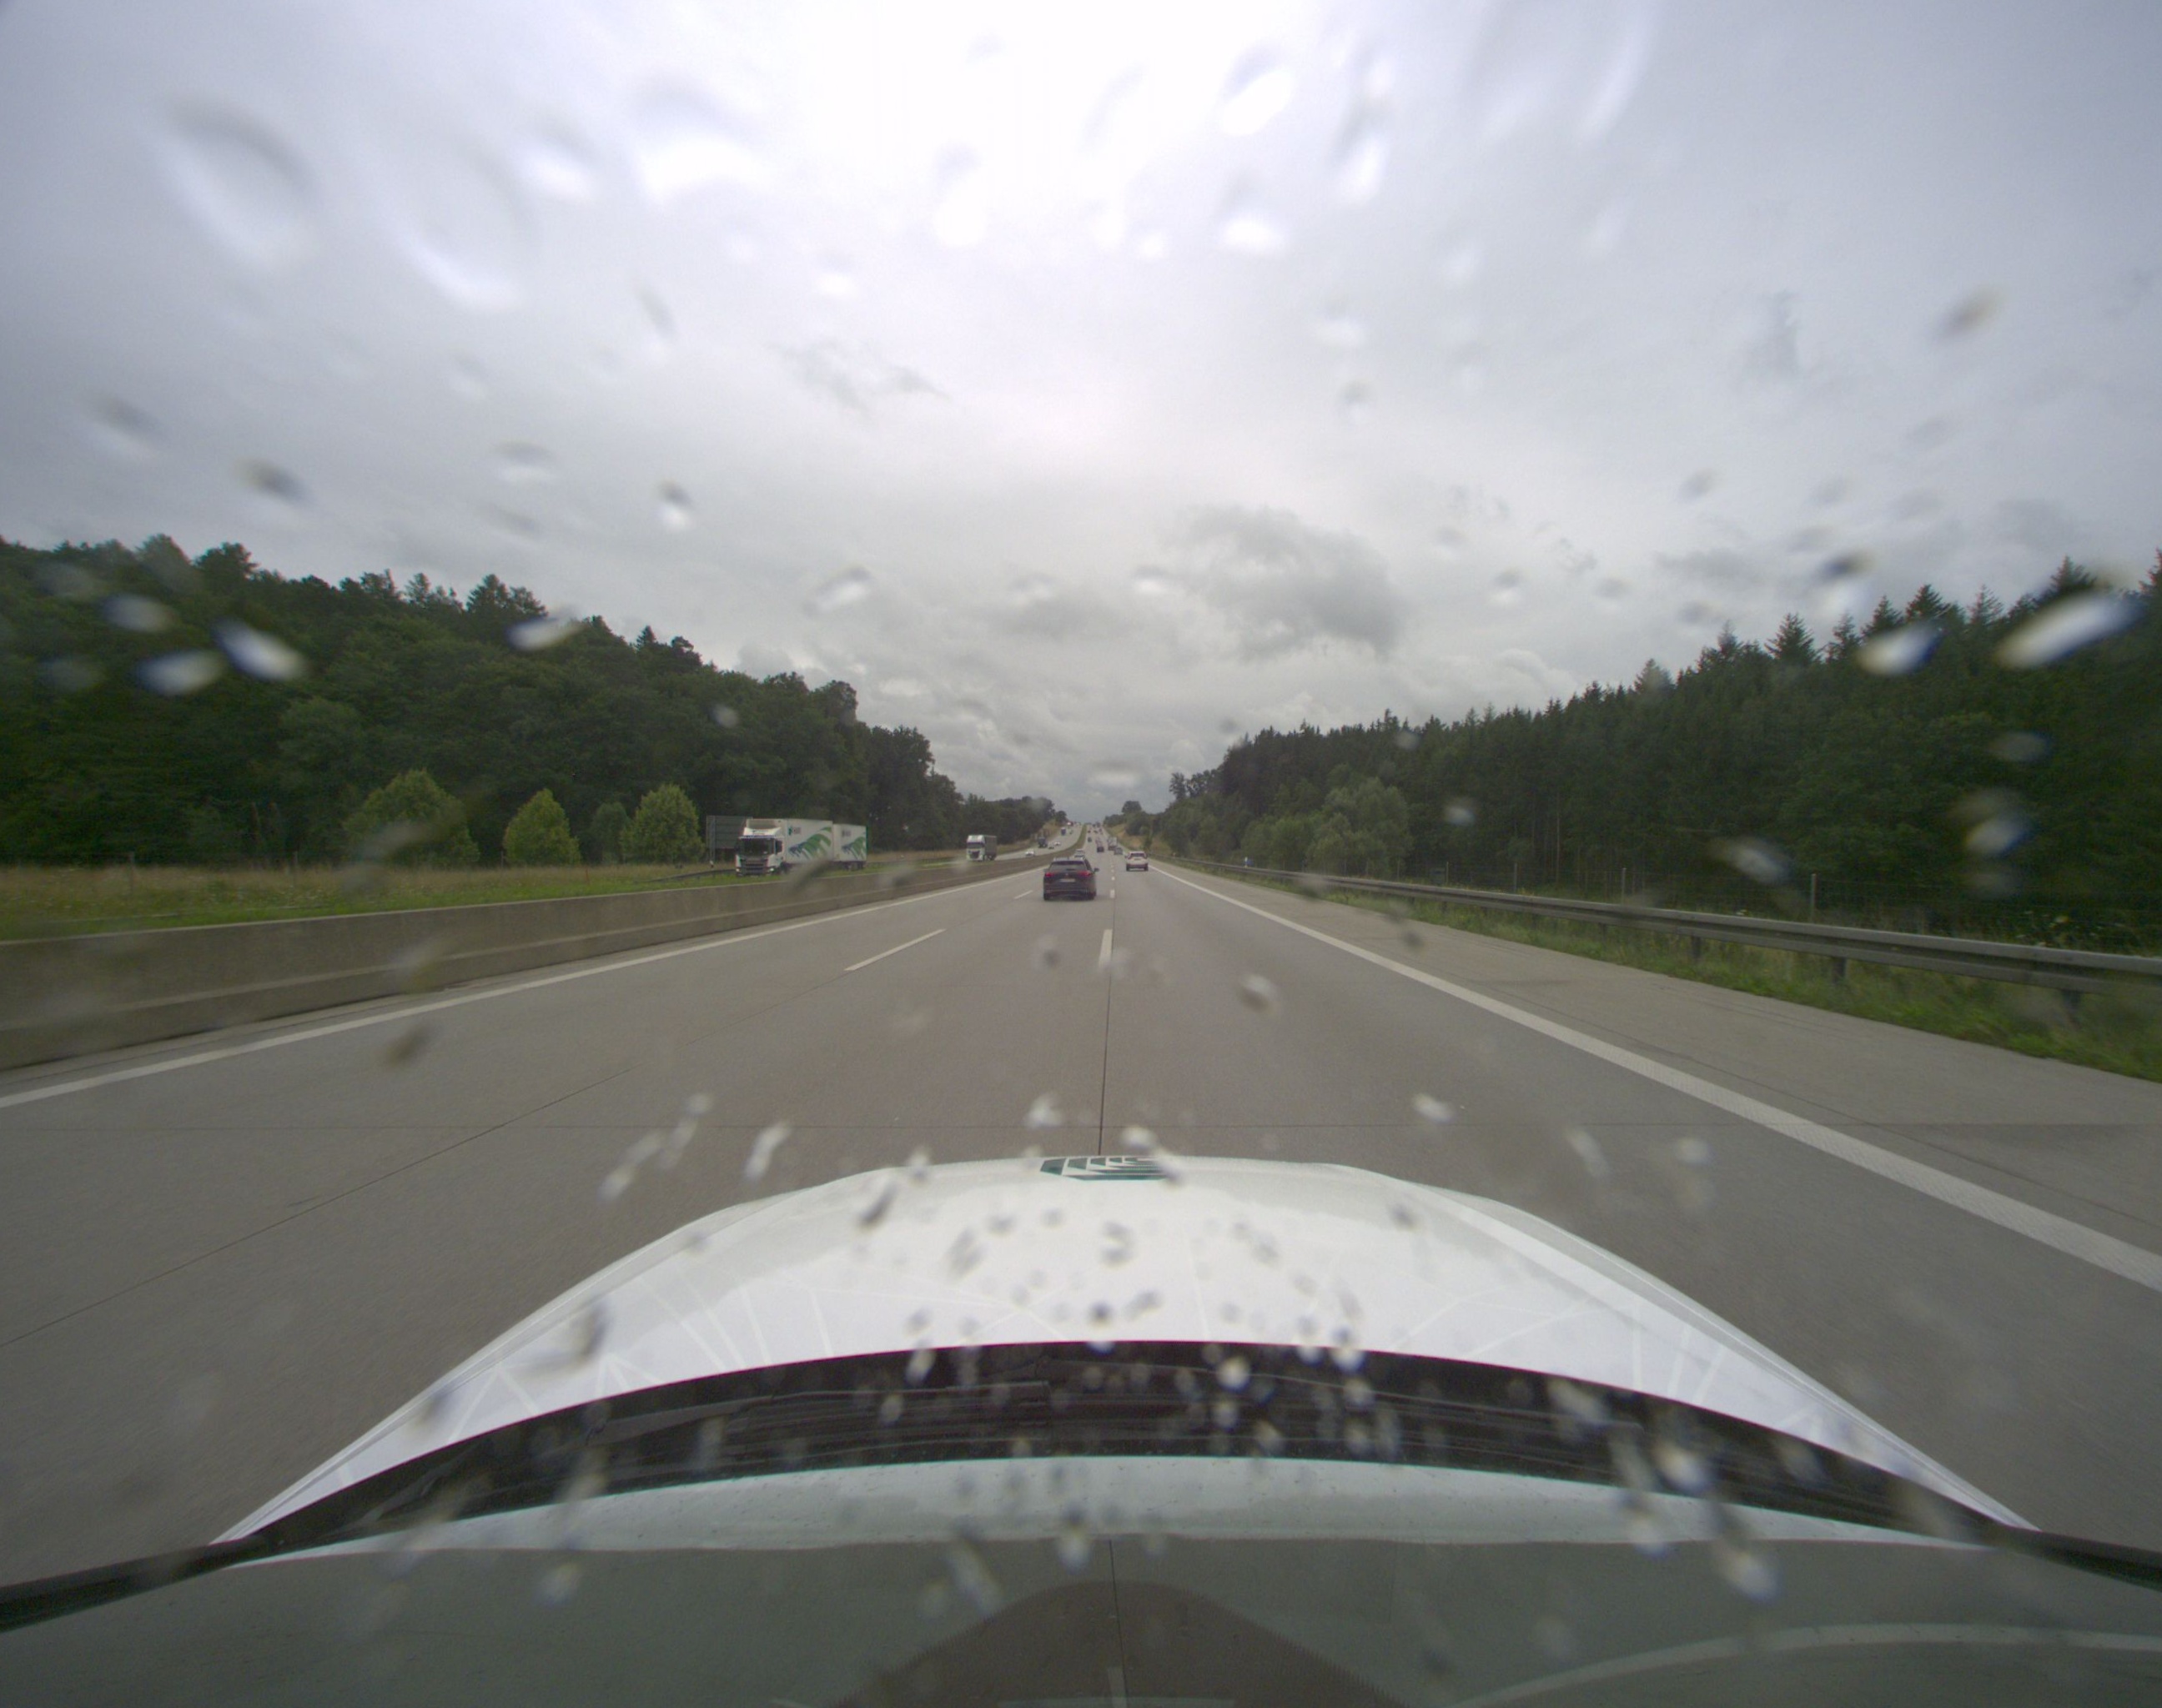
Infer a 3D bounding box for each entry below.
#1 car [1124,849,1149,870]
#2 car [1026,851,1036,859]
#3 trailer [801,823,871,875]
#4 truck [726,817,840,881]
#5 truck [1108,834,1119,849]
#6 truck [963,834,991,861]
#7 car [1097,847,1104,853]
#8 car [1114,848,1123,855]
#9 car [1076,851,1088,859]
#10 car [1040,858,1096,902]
[{"bbox_3d":[4.694,0.444,69.380,1.820,1.655,3.984,-1,0,-1],"label":"car"},{"bbox_3d":[-10.735,0.213,173.929,1.777,1.468,4.373,-1,1,1],"label":"car"},{"bbox_3d":[-18.878,-0.391,63.375,2.807,3.782,7.721,0,1,2],"label":"trailer"},{"bbox_3d":[-19.322,-0.323,53.836,2.801,3.772,11.359,0,0,3],"label":"truck"},{"bbox_3d":[9.379,-3.747,234.792,3.007,4.179,8.356,-1,2,1],"label":"truck"},{"bbox_3d":[-16.180,-1.055,127.021,3.201,4.057,7.168,0,0,1],"label":"truck"},{"bbox_3d":[4.950,-1.031,207.106,1.928,1.375,4.597,0,1,2],"label":"car"},{"bbox_3d":[8.133,-0.510,177.674,1.986,1.530,4.003,1,0,2],"label":"car"},{"bbox_3d":[0.172,0.186,148.999,1.940,1.356,4.262,-1,0,2],"label":"car"},{"bbox_3d":[-0.379,0.862,28.852,1.746,1.398,4.486,0,0,2],"label":"car"}]
